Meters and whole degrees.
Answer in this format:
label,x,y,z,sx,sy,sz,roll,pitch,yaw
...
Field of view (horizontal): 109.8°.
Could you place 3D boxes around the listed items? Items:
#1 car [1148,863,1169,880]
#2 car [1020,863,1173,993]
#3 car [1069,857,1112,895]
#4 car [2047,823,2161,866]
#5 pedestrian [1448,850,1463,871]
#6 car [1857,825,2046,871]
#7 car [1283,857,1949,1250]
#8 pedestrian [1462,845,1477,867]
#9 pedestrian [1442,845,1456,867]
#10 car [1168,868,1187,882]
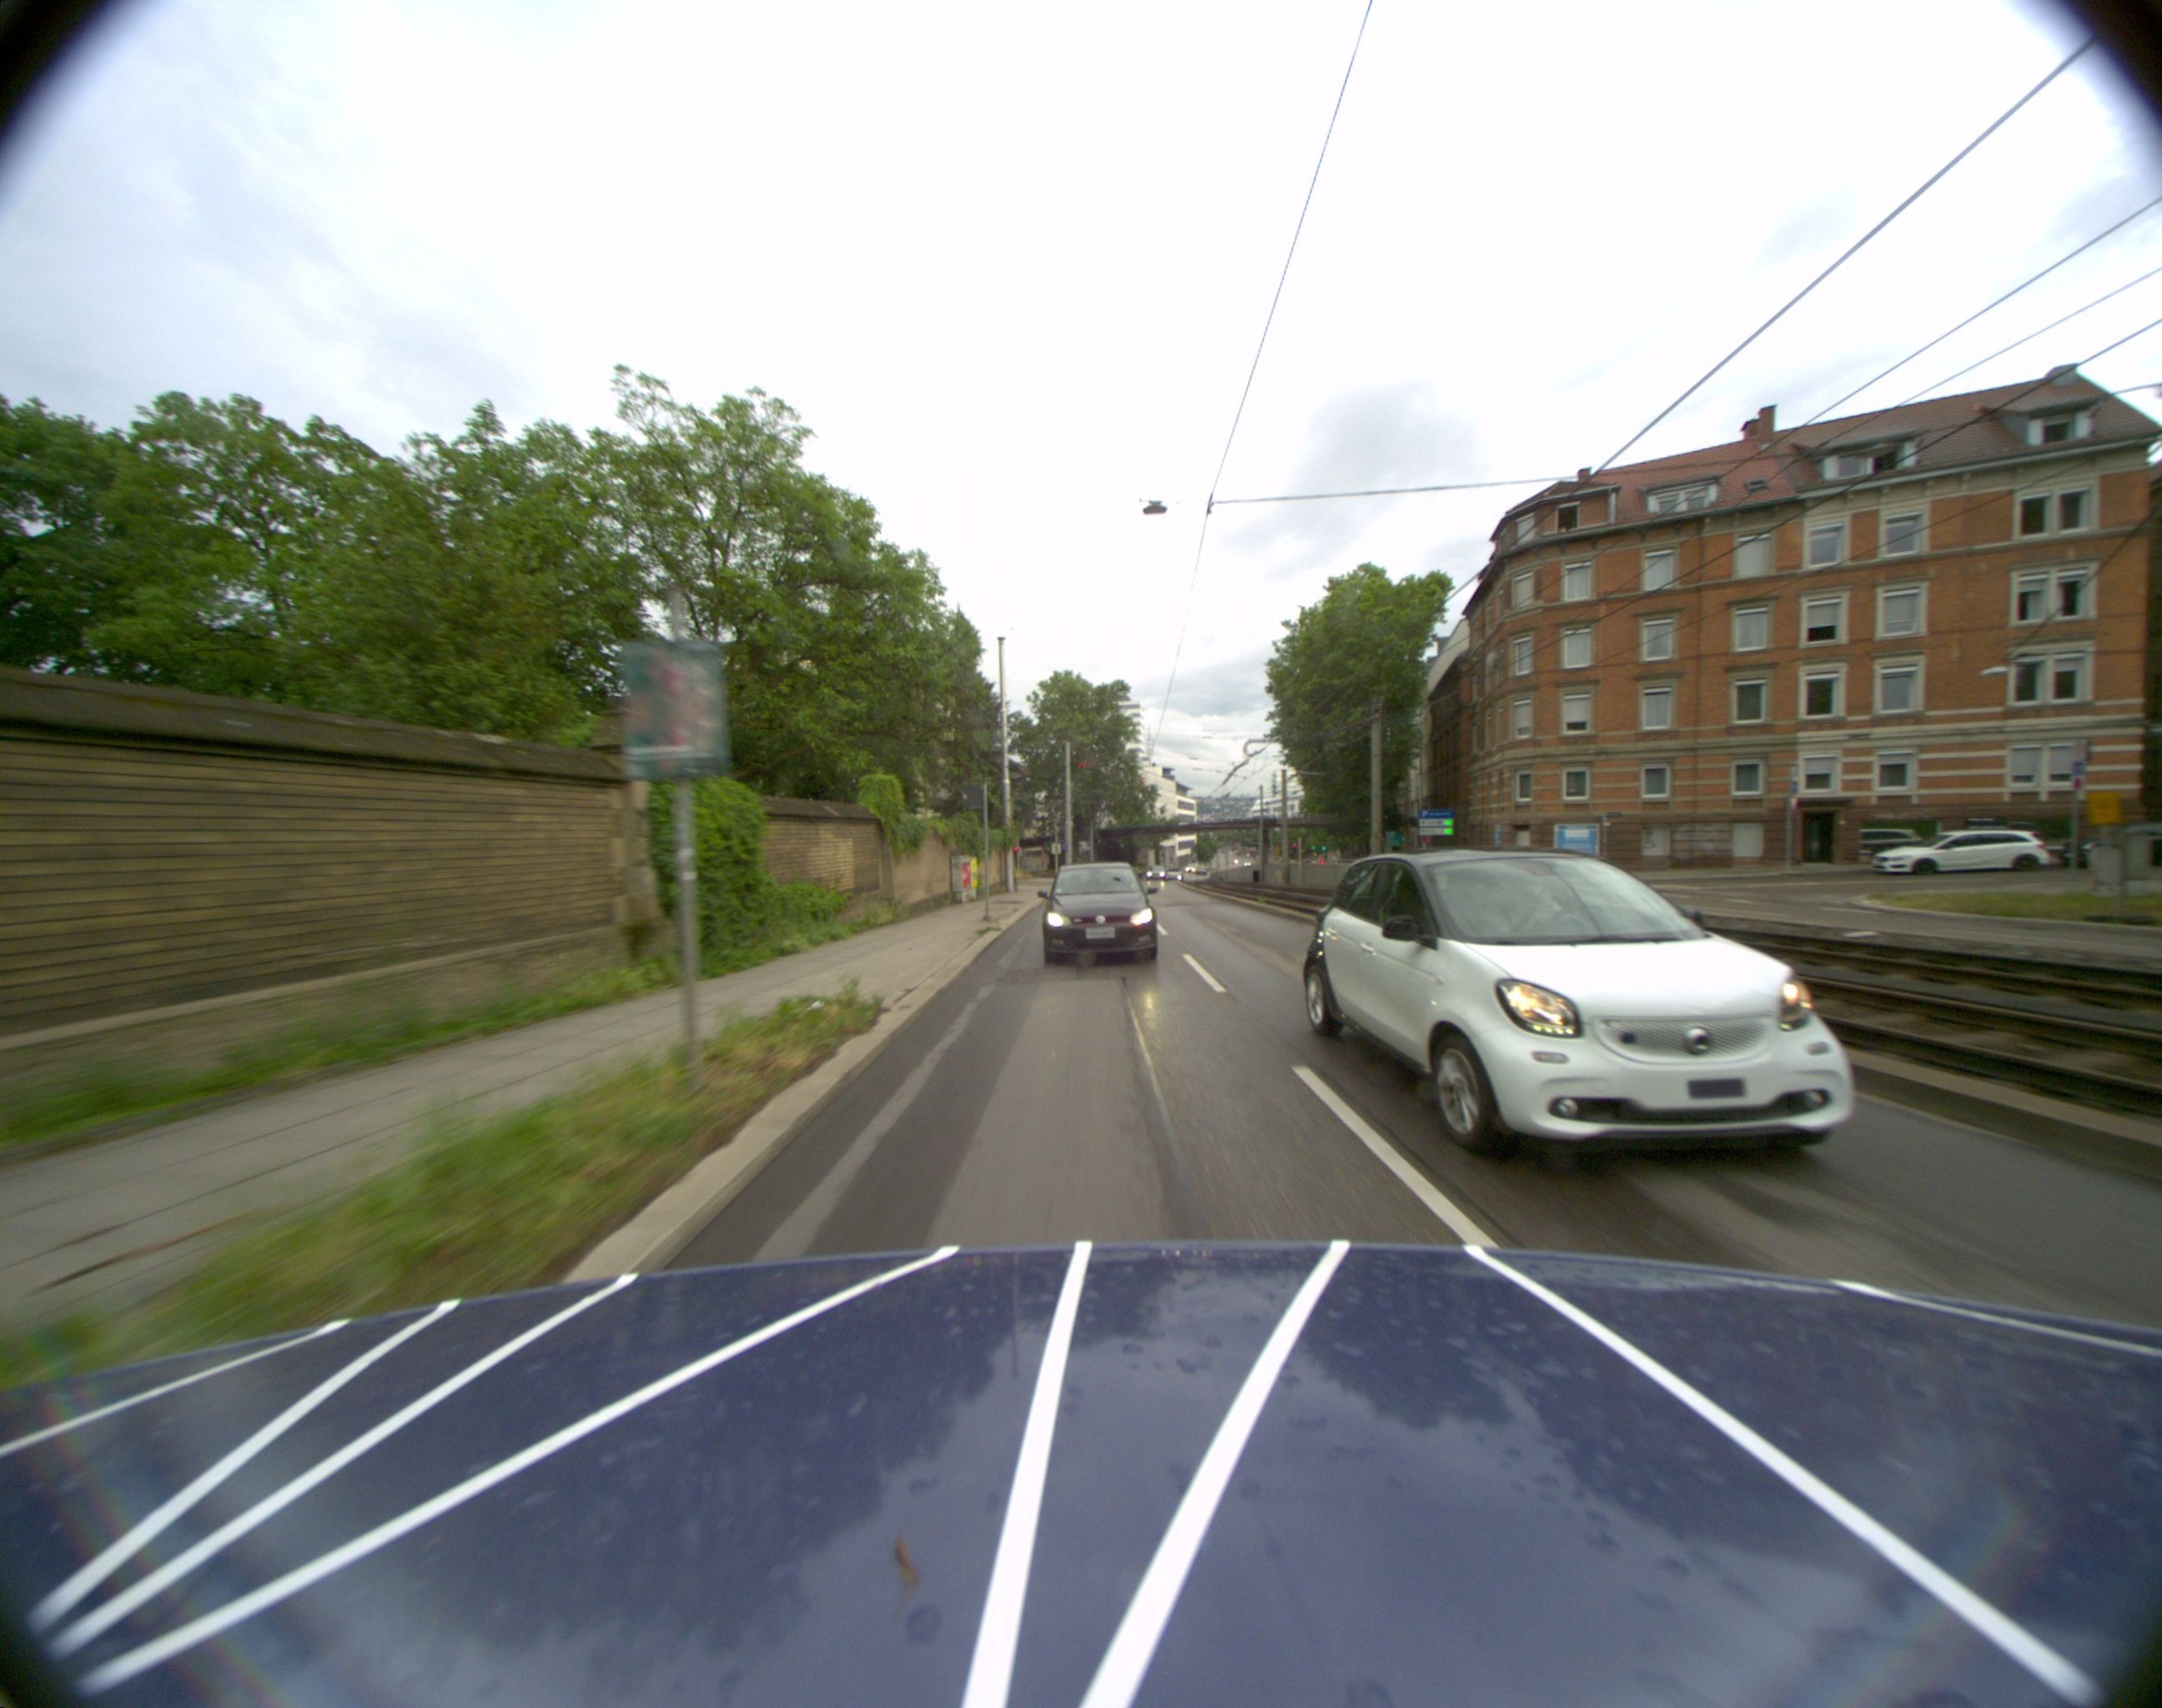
label,x,y,z,sx,sy,sz,roll,pitch,yaw
car,7.021,1.553,68.313,1.639,1.368,3.577,-1,0,9
car,0.199,0.917,11.166,1.798,1.477,3.964,-2,0,0
car,0.468,0.916,33.181,1.657,1.483,3.830,-1,0,3
car,37.752,-0.351,27.283,3.379,1.458,1.659,-2,0,23
pedestrian,24.544,0.452,49.798,0.620,1.346,0.538,-3,1,1
car,33.340,-0.197,29.284,4.427,1.588,1.844,-2,0,23
car,2.655,0.816,4.925,1.680,1.522,3.721,-2,0,0
pedestrian,25.115,0.114,49.127,0.619,1.346,0.538,-3,1,4
pedestrian,23.858,0.128,49.218,0.620,1.346,0.538,-3,1,1
car,10.711,2.330,84.240,1.734,1.368,4.003,-2,0,12
